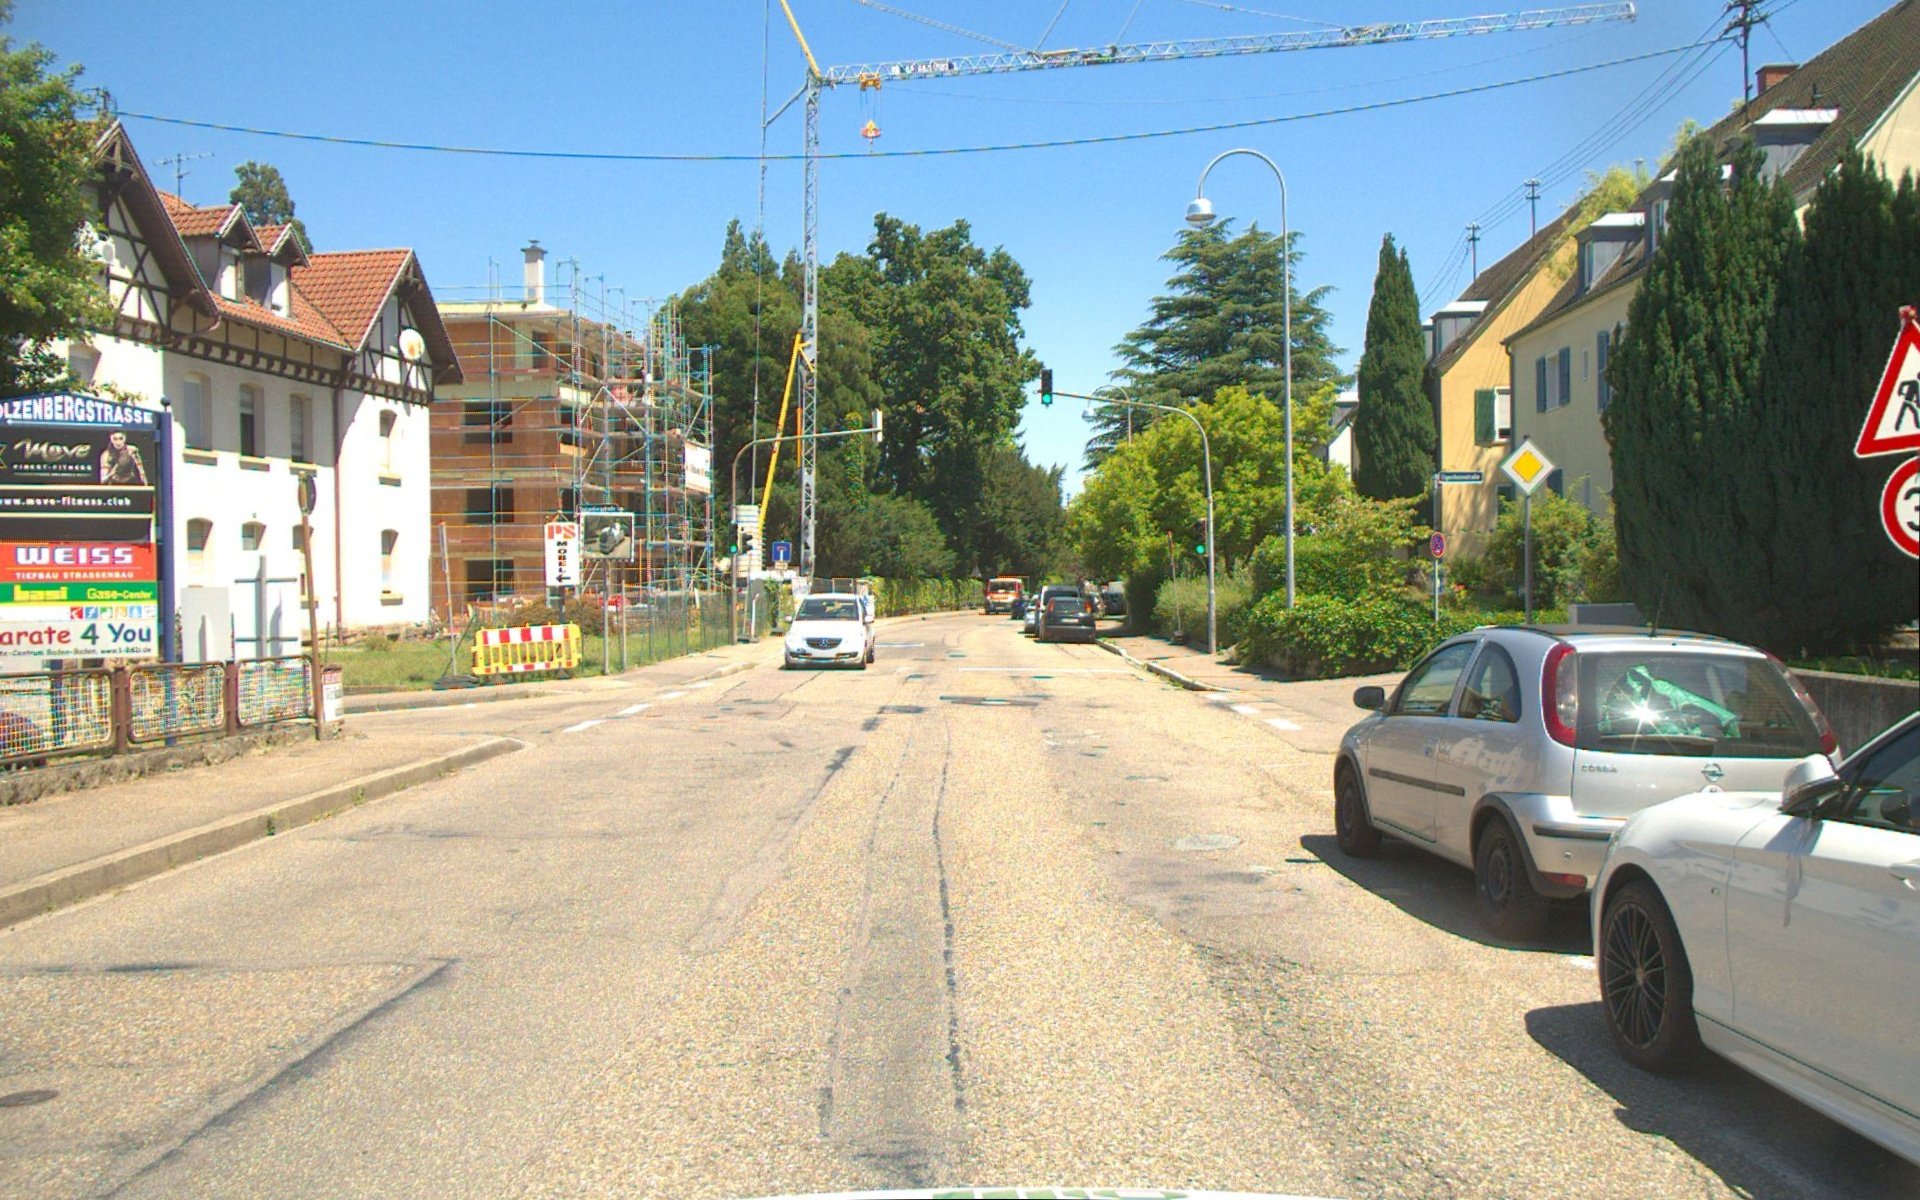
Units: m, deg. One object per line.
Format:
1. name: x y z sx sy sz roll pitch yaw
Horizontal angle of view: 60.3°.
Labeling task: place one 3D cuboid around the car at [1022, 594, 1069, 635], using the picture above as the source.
1. car: 3.303 0.535 63.219 1.627 1.460 4.131 1 0 5

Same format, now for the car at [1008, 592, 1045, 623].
1. car: 3.536 0.396 87.928 1.756 1.536 4.002 1 0 5

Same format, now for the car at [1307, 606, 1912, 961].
1. car: 3.253 0.809 9.189 1.633 1.491 3.998 2 0 -2

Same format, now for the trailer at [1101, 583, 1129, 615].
1. trailer: 10.574 -0.066 112.609 1.644 2.104 3.712 1 1 9

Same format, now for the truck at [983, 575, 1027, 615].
1. truck: 2.838 -0.338 102.455 2.082 2.379 6.439 -1 0 7

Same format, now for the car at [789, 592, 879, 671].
1. car: -2.740 0.662 36.675 1.618 1.589 3.885 -2 0 0

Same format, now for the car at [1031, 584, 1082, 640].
1. car: 3.367 0.397 57.841 1.627 1.834 4.204 2 0 3

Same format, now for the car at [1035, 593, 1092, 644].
1. car: 3.297 0.569 53.159 1.595 1.488 4.017 2 0 1

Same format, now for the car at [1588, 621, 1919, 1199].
1. car: 3.169 0.820 3.993 1.633 1.460 3.998 2 0 -2

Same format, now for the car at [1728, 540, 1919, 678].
1. car: 11.800 0.039 20.927 3.335 1.477 1.613 -6 0 5

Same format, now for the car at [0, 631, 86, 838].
1. car: -8.286 1.076 11.721 1.756 1.544 4.003 -2 0 5
